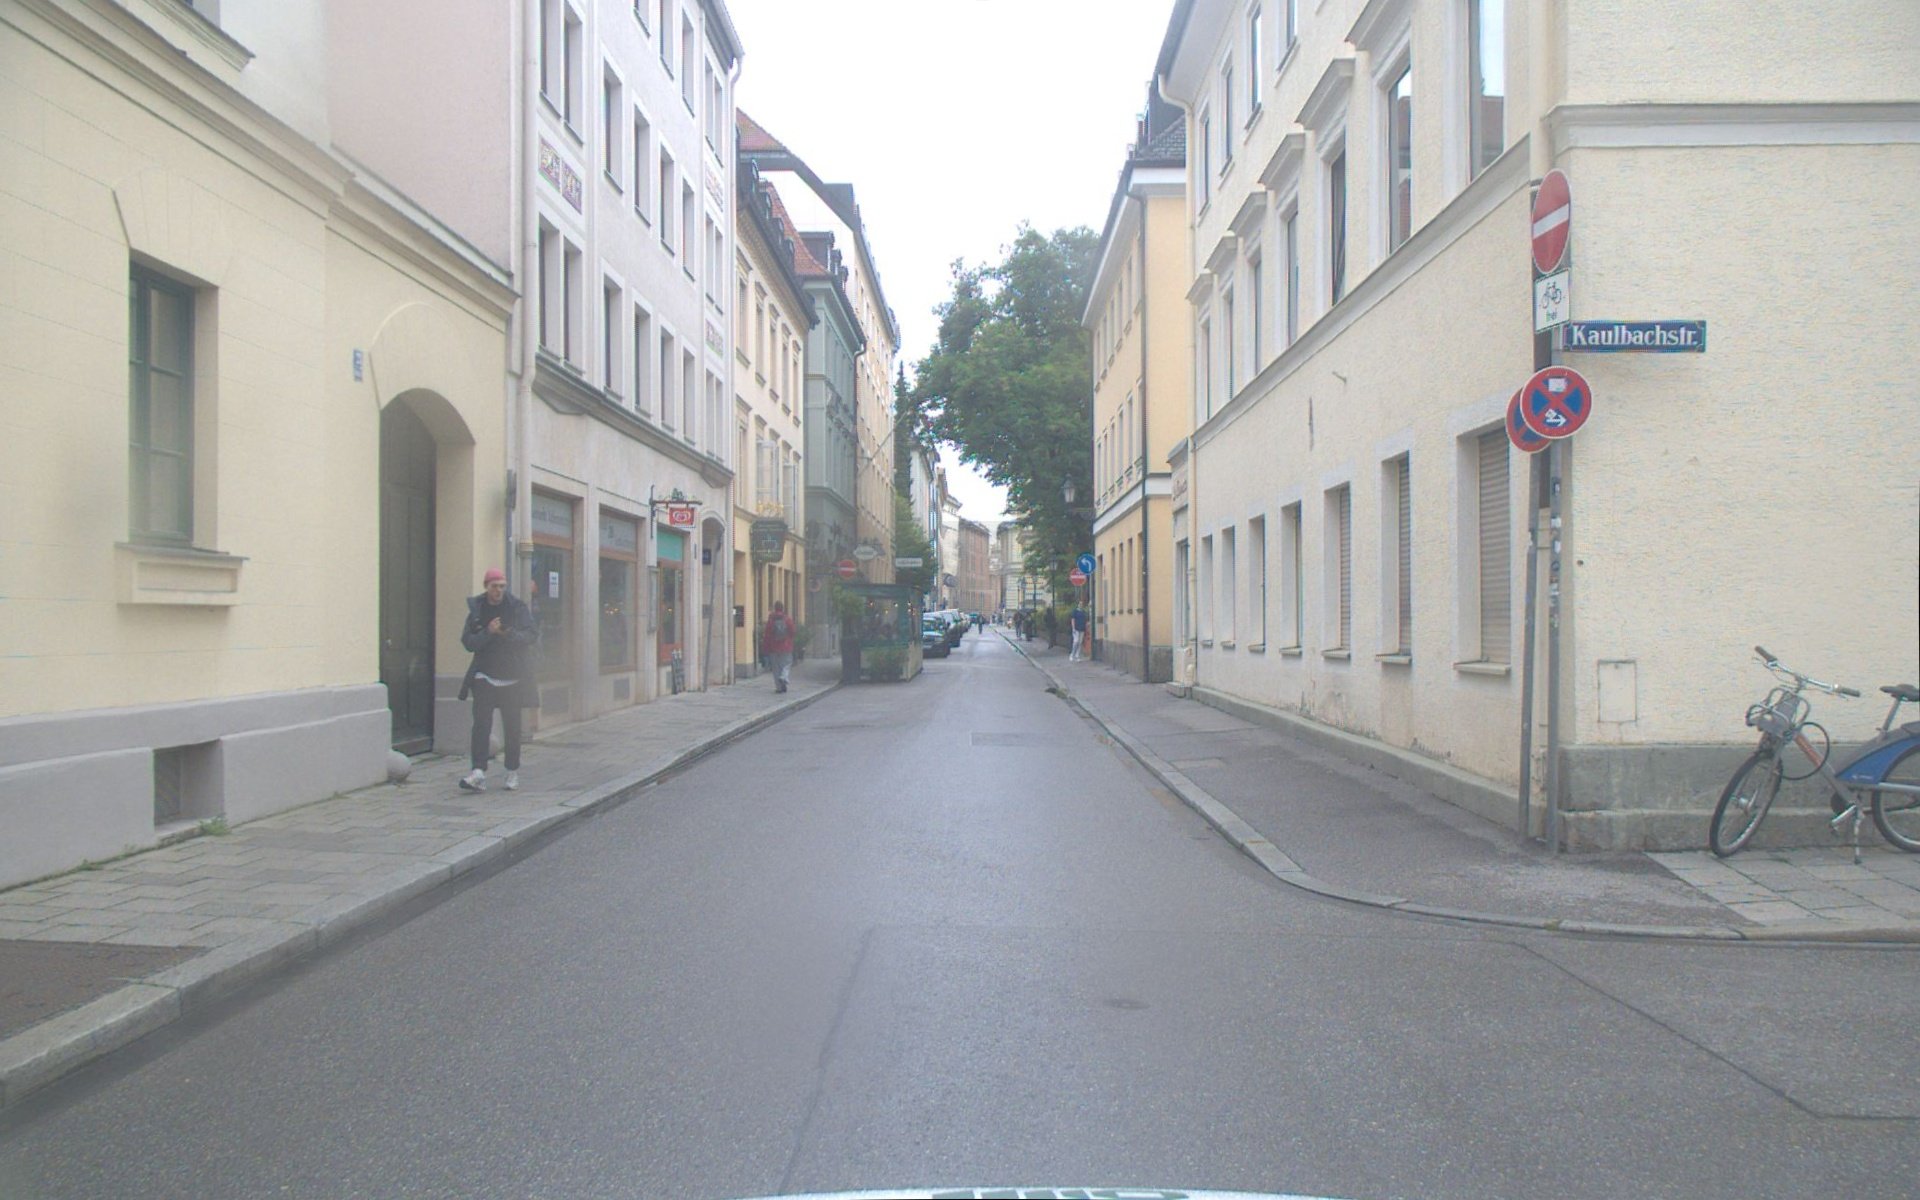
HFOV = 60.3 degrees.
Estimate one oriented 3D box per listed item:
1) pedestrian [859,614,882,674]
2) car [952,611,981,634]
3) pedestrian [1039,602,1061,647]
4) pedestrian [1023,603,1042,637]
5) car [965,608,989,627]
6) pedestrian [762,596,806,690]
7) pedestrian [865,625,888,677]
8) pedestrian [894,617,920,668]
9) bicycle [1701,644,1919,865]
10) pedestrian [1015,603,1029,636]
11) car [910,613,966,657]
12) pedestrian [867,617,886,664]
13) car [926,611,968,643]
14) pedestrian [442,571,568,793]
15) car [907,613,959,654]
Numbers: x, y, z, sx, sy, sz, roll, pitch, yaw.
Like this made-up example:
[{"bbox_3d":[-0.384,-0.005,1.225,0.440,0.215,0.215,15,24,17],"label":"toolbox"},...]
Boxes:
[{"bbox_3d":[-2.047,1.006,37.897,0.499,1.350,0.630,1,-1,-1],"label":"pedestrian"},{"bbox_3d":[0.437,1.449,108.749,1.742,1.492,3.543,1,0,3],"label":"car"},{"bbox_3d":[3.755,1.006,68.871,0.862,1.834,1.046,1,-1,1],"label":"pedestrian"},{"bbox_3d":[3.869,1.061,88.866,0.994,1.834,1.349,1,-1,2],"label":"pedestrian"},{"bbox_3d":[1.421,1.433,135.148,1.742,1.492,3.543,1,0,3],"label":"car"},{"bbox_3d":[-3.326,0.806,31.360,0.750,1.738,0.785,-1,-1,-2],"label":"pedestrian"},{"bbox_3d":[-1.961,1.196,38.879,0.499,1.208,0.630,1,-1,-1],"label":"pedestrian"},{"bbox_3d":[-1.403,1.121,43.998,0.659,1.350,0.696,1,-1,-1],"label":"pedestrian"},{"bbox_3d":[5.223,0.861,9.443,1.721,1.164,0.586,-1,2,1],"label":"bicycle"},{"bbox_3d":[3.574,1.120,95.175,0.777,1.834,0.903,1,-1,1],"label":"pedestrian"},{"bbox_3d":[-0.754,1.223,59.362,1.742,1.492,3.664,1,0,3],"label":"car"},{"bbox_3d":[-2.285,1.103,45.430,0.499,1.259,0.630,1,-1,-1],"label":"pedestrian"},{"bbox_3d":[-0.586,1.263,79.029,1.742,1.492,3.543,1,0,3],"label":"car"},{"bbox_3d":[-3.797,0.657,13.862,0.793,1.786,0.990,0,1,-2],"label":"pedestrian"},{"bbox_3d":[-1.024,1.274,64.074,1.742,1.492,3.543,1,0,3],"label":"car"}]
